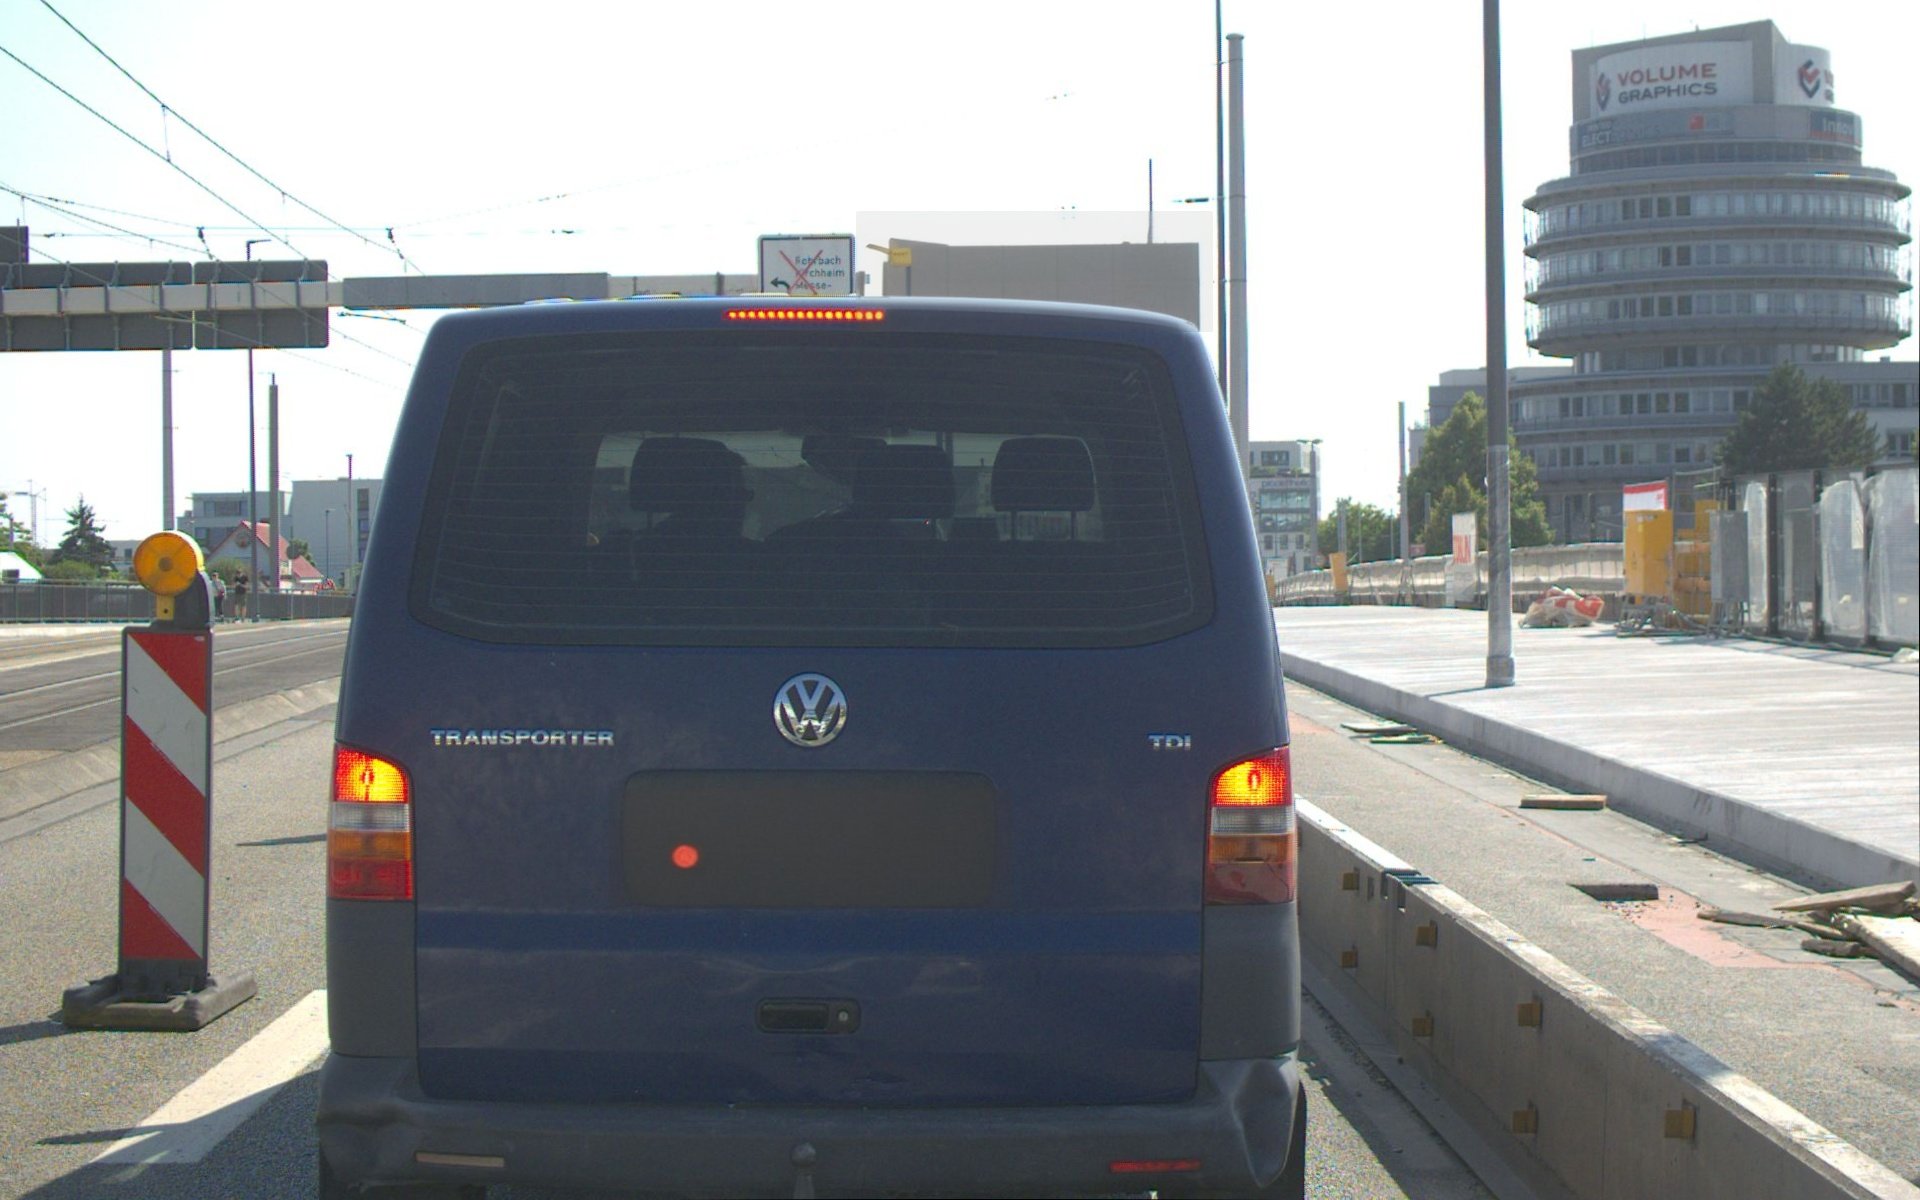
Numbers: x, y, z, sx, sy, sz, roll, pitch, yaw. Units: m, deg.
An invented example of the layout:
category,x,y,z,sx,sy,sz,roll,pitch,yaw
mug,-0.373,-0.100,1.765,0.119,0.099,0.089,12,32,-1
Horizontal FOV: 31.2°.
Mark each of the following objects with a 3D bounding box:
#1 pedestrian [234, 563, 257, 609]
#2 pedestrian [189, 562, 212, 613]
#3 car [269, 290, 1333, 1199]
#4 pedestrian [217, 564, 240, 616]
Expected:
category,x,y,z,sx,sy,sz,roll,pitch,yaw
pedestrian,-25.017,-0.477,120.383,0.634,1.593,0.752,0,1,-1
pedestrian,-25.977,-0.425,117.584,0.634,1.746,0.752,0,1,-1
car,-0.296,0.380,7.925,1.815,1.899,4.055,0,1,-1
pedestrian,-25.033,-0.341,117.665,0.634,1.768,0.752,0,1,-1
